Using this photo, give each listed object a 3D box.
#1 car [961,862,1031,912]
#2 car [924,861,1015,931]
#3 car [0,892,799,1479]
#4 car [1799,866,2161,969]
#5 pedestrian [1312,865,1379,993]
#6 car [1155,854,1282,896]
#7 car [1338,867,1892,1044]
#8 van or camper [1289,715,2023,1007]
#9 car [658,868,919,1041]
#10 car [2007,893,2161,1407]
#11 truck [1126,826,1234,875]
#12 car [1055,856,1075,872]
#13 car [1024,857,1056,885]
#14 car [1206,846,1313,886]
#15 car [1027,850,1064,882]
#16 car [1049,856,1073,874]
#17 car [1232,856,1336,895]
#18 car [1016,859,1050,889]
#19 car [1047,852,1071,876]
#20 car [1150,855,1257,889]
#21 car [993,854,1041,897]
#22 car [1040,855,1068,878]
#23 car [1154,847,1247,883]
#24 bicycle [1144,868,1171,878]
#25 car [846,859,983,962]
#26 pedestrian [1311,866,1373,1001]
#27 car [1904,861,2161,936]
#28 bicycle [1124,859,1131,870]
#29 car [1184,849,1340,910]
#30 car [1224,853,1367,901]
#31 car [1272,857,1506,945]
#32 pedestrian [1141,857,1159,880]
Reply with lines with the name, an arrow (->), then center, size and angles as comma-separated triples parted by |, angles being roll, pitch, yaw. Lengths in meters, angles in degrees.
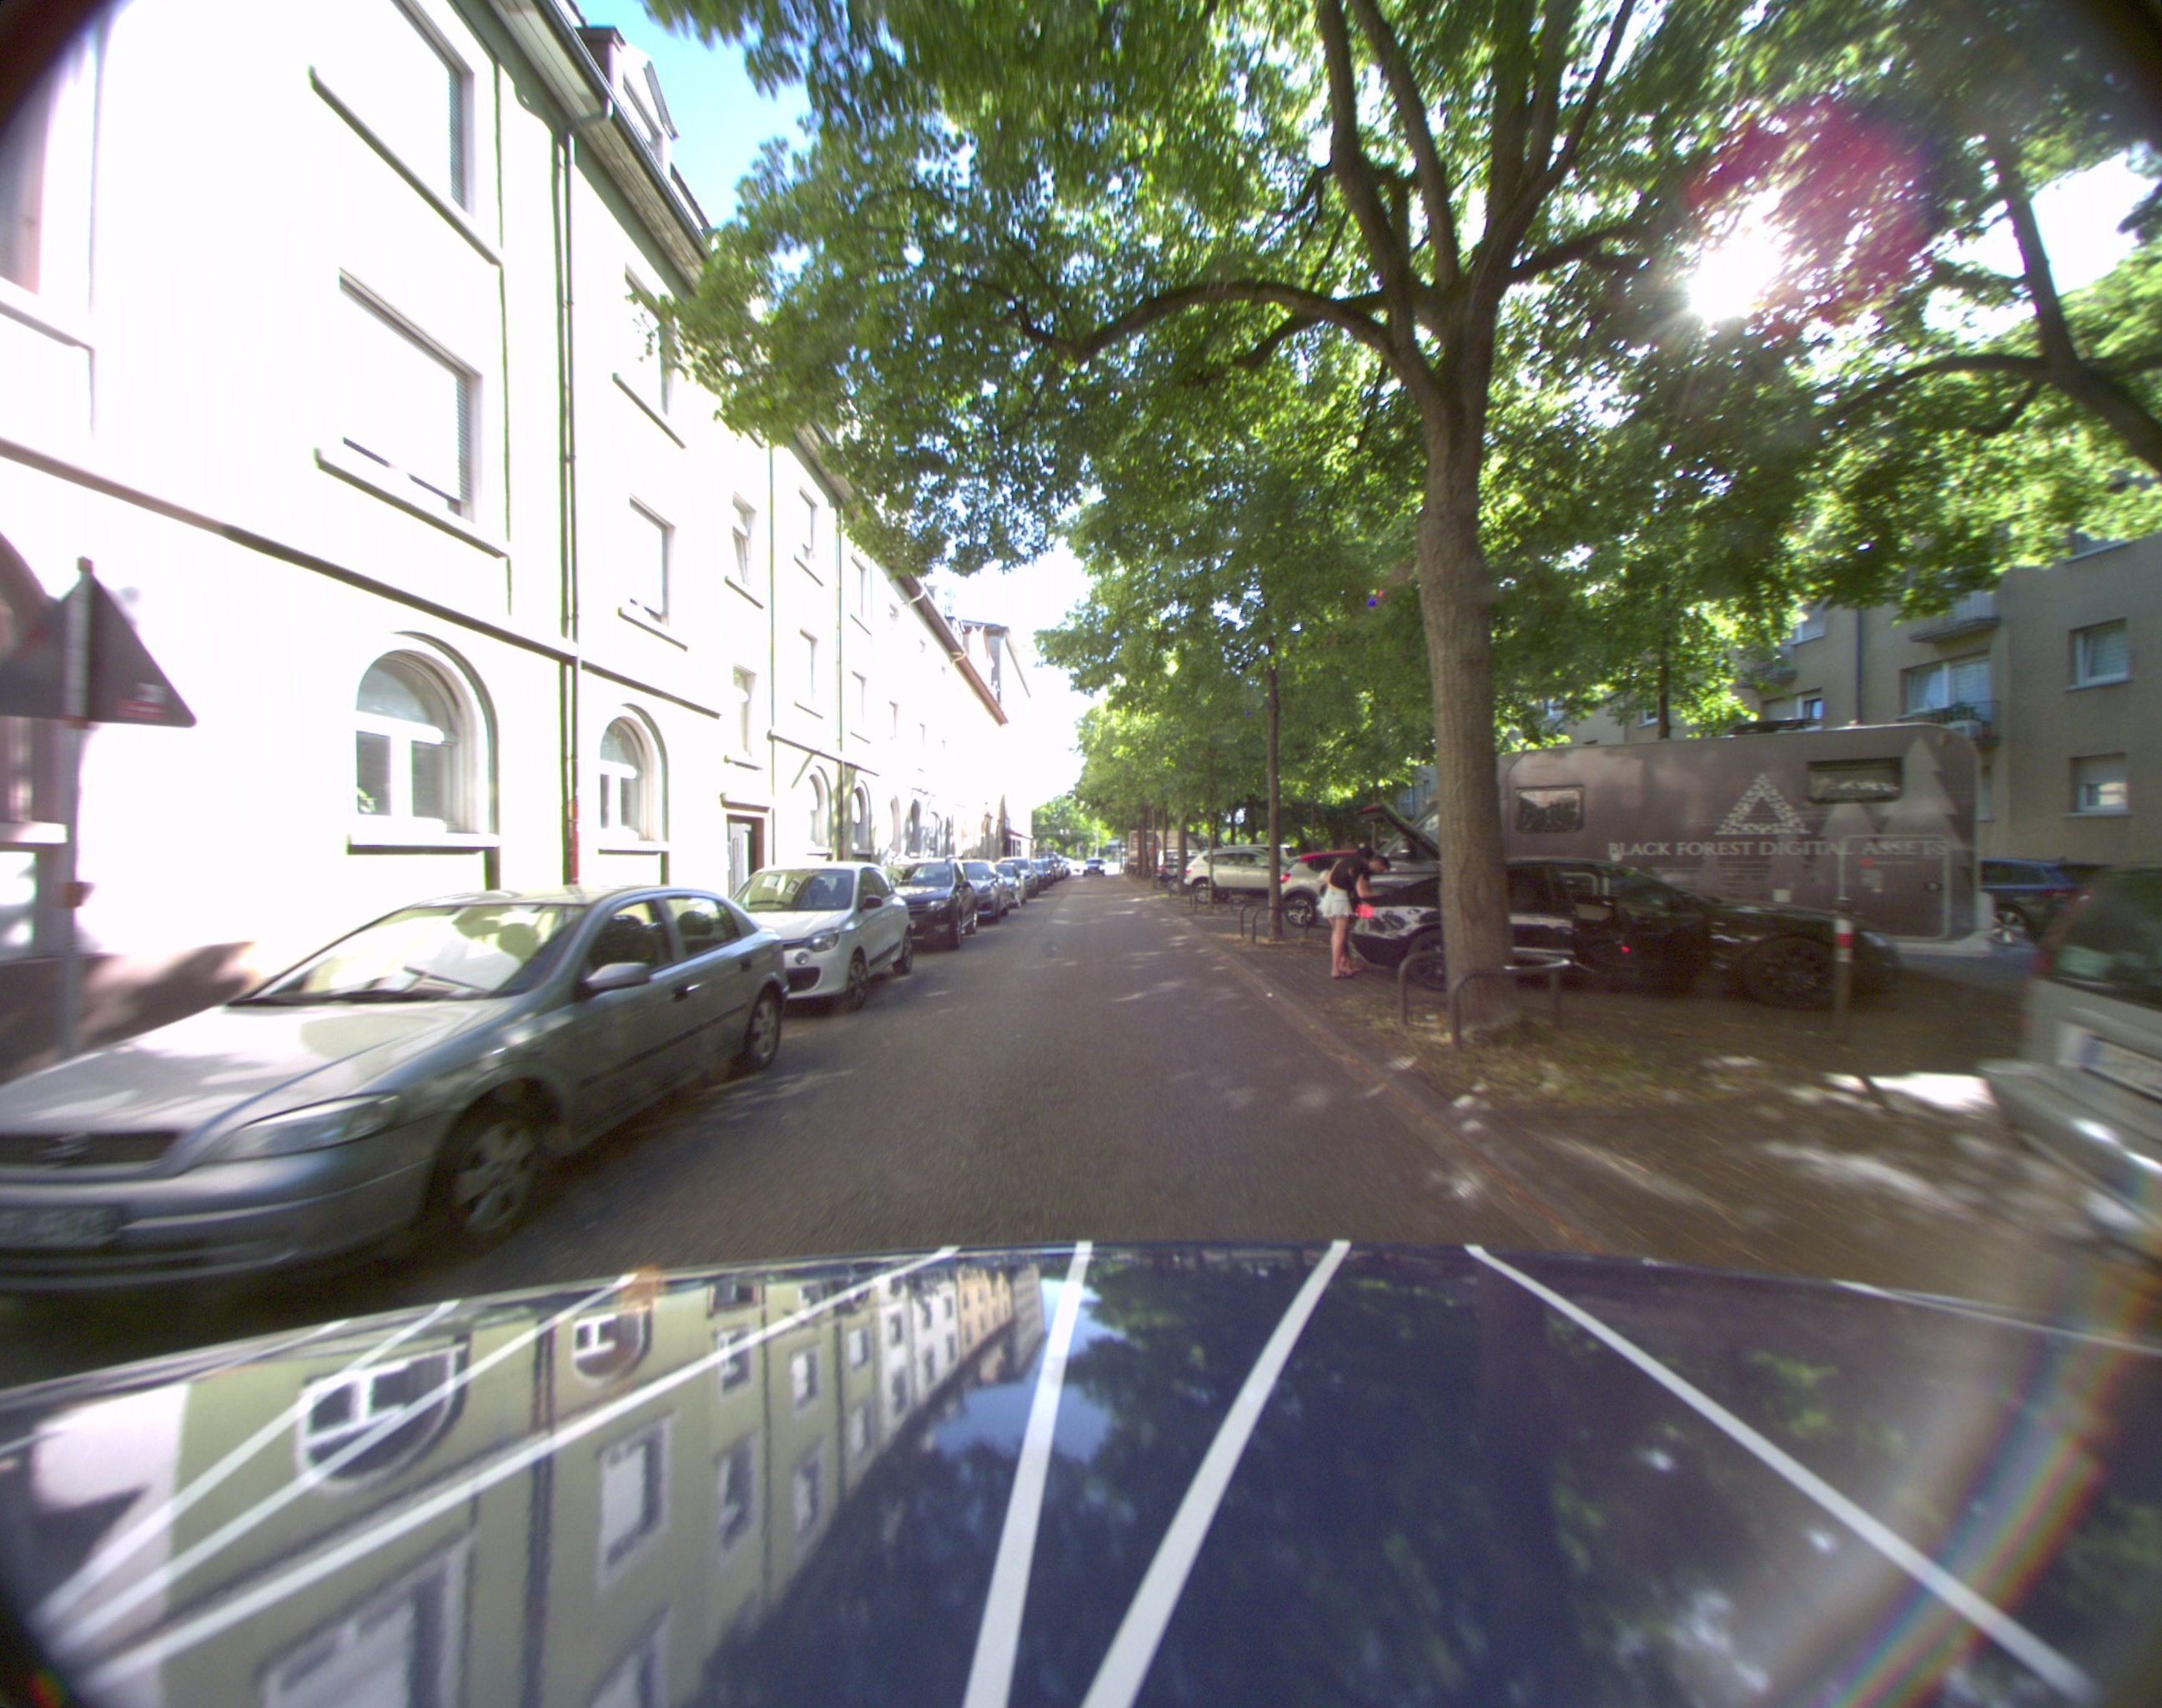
car -> -2.684, 1.012, 24.902 | 1.726, 1.424, 4.158 | -1, 0, 1
car -> -2.705, 0.976, 19.216 | 1.727, 1.519, 4.157 | -1, 0, -1
car -> -3.107, 1.018, 4.125 | 1.635, 1.404, 4.088 | -1, 0, 0
car -> 15.843, 0.995, 13.700 | 1.768, 1.499, 4.309 | 0, 0, 1
pedestrian -> 3.179, 0.864, 9.108 | 0.710, 1.447, 0.597 | 0, 1, 24
car -> 5.211, 0.778, 28.989 | 4.411, 1.453, 1.719 | -1, 1, 34
car -> 5.082, 0.859, 7.929 | 4.318, 1.416, 1.678 | -1, 0, 28
van or camper -> 6.753, 0.083, 10.317 | 7.230, 2.912, 2.318 | 0, 0, 28
car -> -3.093, 0.963, 8.843 | 1.635, 1.525, 3.592 | -1, 0, 0
car -> 5.031, 0.855, 1.032 | 4.476, 1.435, 1.736 | -1, 0, 34
truck -> 7.032, -0.218, 54.432 | 7.305, 3.274, 2.552 | 0, 0, 33
car -> -1.564, 0.946, 75.037 | 1.723, 1.488, 4.023 | 0, 0, 2
car -> -2.236, 0.925, 42.467 | 1.626, 1.489, 3.594 | -1, 0, -1
car -> 8.575, 0.520, 36.542 | 4.593, 1.821, 2.022 | 0, 1, 30
car -> -2.181, 0.701, 48.095 | 1.953, 1.889, 4.846 | -1, 0, 2
car -> -1.726, 0.907, 64.306 | 1.807, 1.455, 4.439 | -1, 0, -3
car -> 8.186, 0.830, 30.695 | 3.623, 1.447, 1.822 | 0, 0, 38
car -> -2.321, 0.963, 37.559 | 1.553, 1.386, 3.860 | -1, 0, -2
car -> -1.672, 0.757, 58.563 | 1.766, 1.743, 4.509 | -1, 0, 0
car -> 5.592, 0.795, 34.892 | 4.477, 1.447, 1.791 | -1, 0, 33
car -> -2.574, 0.830, 31.380 | 1.727, 1.676, 4.157 | -1, 0, -1
car -> -1.861, 0.843, 53.503 | 1.766, 1.491, 4.238 | -1, 0, 1
car -> 6.501, 0.608, 41.310 | 4.512, 1.854, 2.085 | -1, 0, 26
bicycle -> 4.680, 1.152, 46.448 | 1.610, 0.555, 0.410 | 0, 0, 32
car -> -2.906, 0.900, 14.126 | 1.727, 1.587, 4.157 | -1, 0, -2
pedestrian -> 2.938, 0.865, 8.547 | 0.615, 1.447, 0.520 | 0, 1, 24
car -> 20.039, 0.842, 15.969 | 1.629, 1.378, 3.612 | 0, 0, 1
bicycle -> 4.741, 1.071, 77.823 | 0.354, 1.066, 1.591 | -1, 0, -9
car -> 5.322, 0.701, 22.452 | 4.136, 1.669, 1.762 | -1, 0, 30
car -> 6.902, 0.751, 24.574 | 4.032, 1.395, 1.827 | -2, 0, 34
car -> 5.907, 0.803, 14.660 | 3.989, 1.498, 1.761 | 0, 0, 30
pedestrian -> 4.332, 0.906, 47.549 | 0.751, 1.388, 0.930 | 0, 0, 33
